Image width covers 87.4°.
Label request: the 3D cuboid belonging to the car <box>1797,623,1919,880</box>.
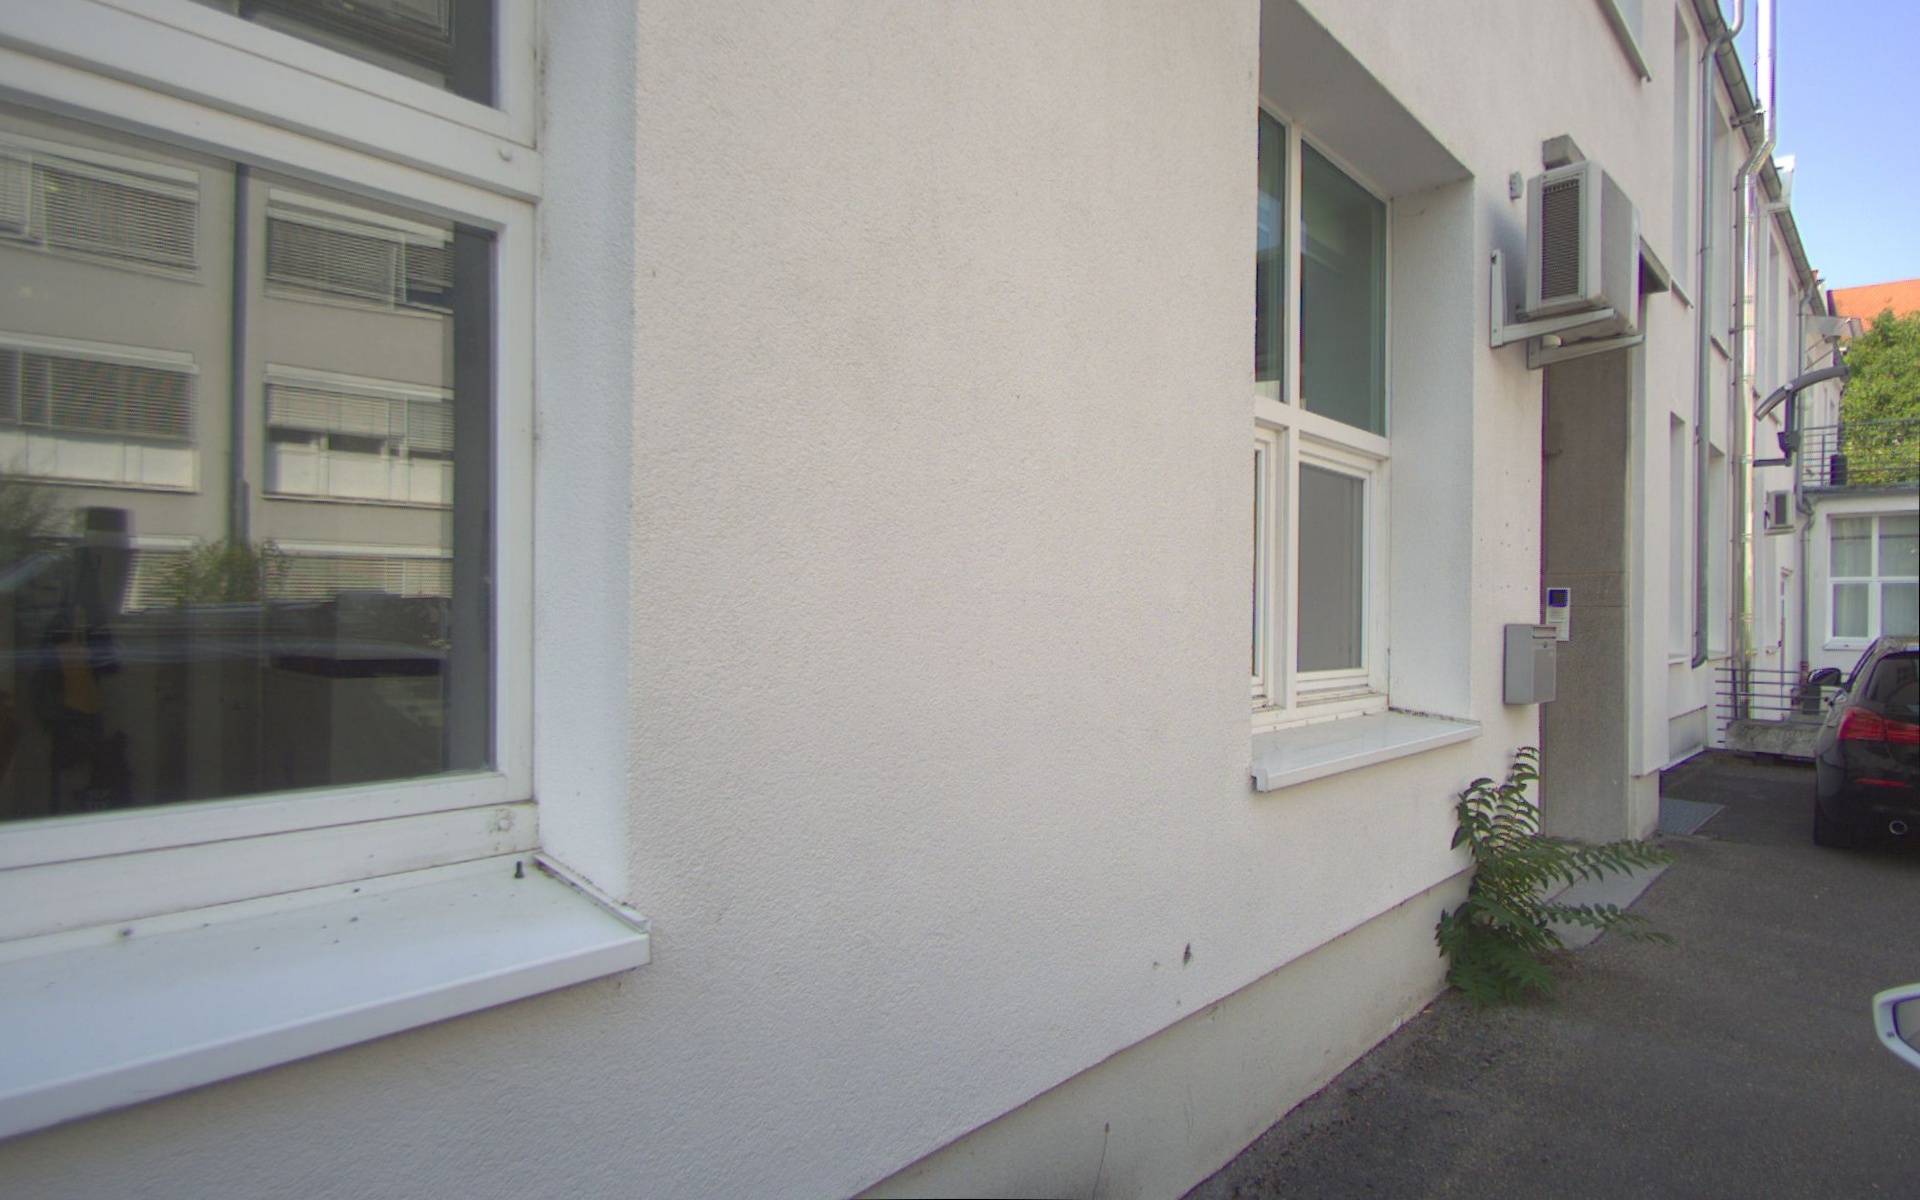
[{"bbox_3d":[7.155,0.921,7.094,1.772,1.447,4.114,1,0,42],"label":"car"}]
